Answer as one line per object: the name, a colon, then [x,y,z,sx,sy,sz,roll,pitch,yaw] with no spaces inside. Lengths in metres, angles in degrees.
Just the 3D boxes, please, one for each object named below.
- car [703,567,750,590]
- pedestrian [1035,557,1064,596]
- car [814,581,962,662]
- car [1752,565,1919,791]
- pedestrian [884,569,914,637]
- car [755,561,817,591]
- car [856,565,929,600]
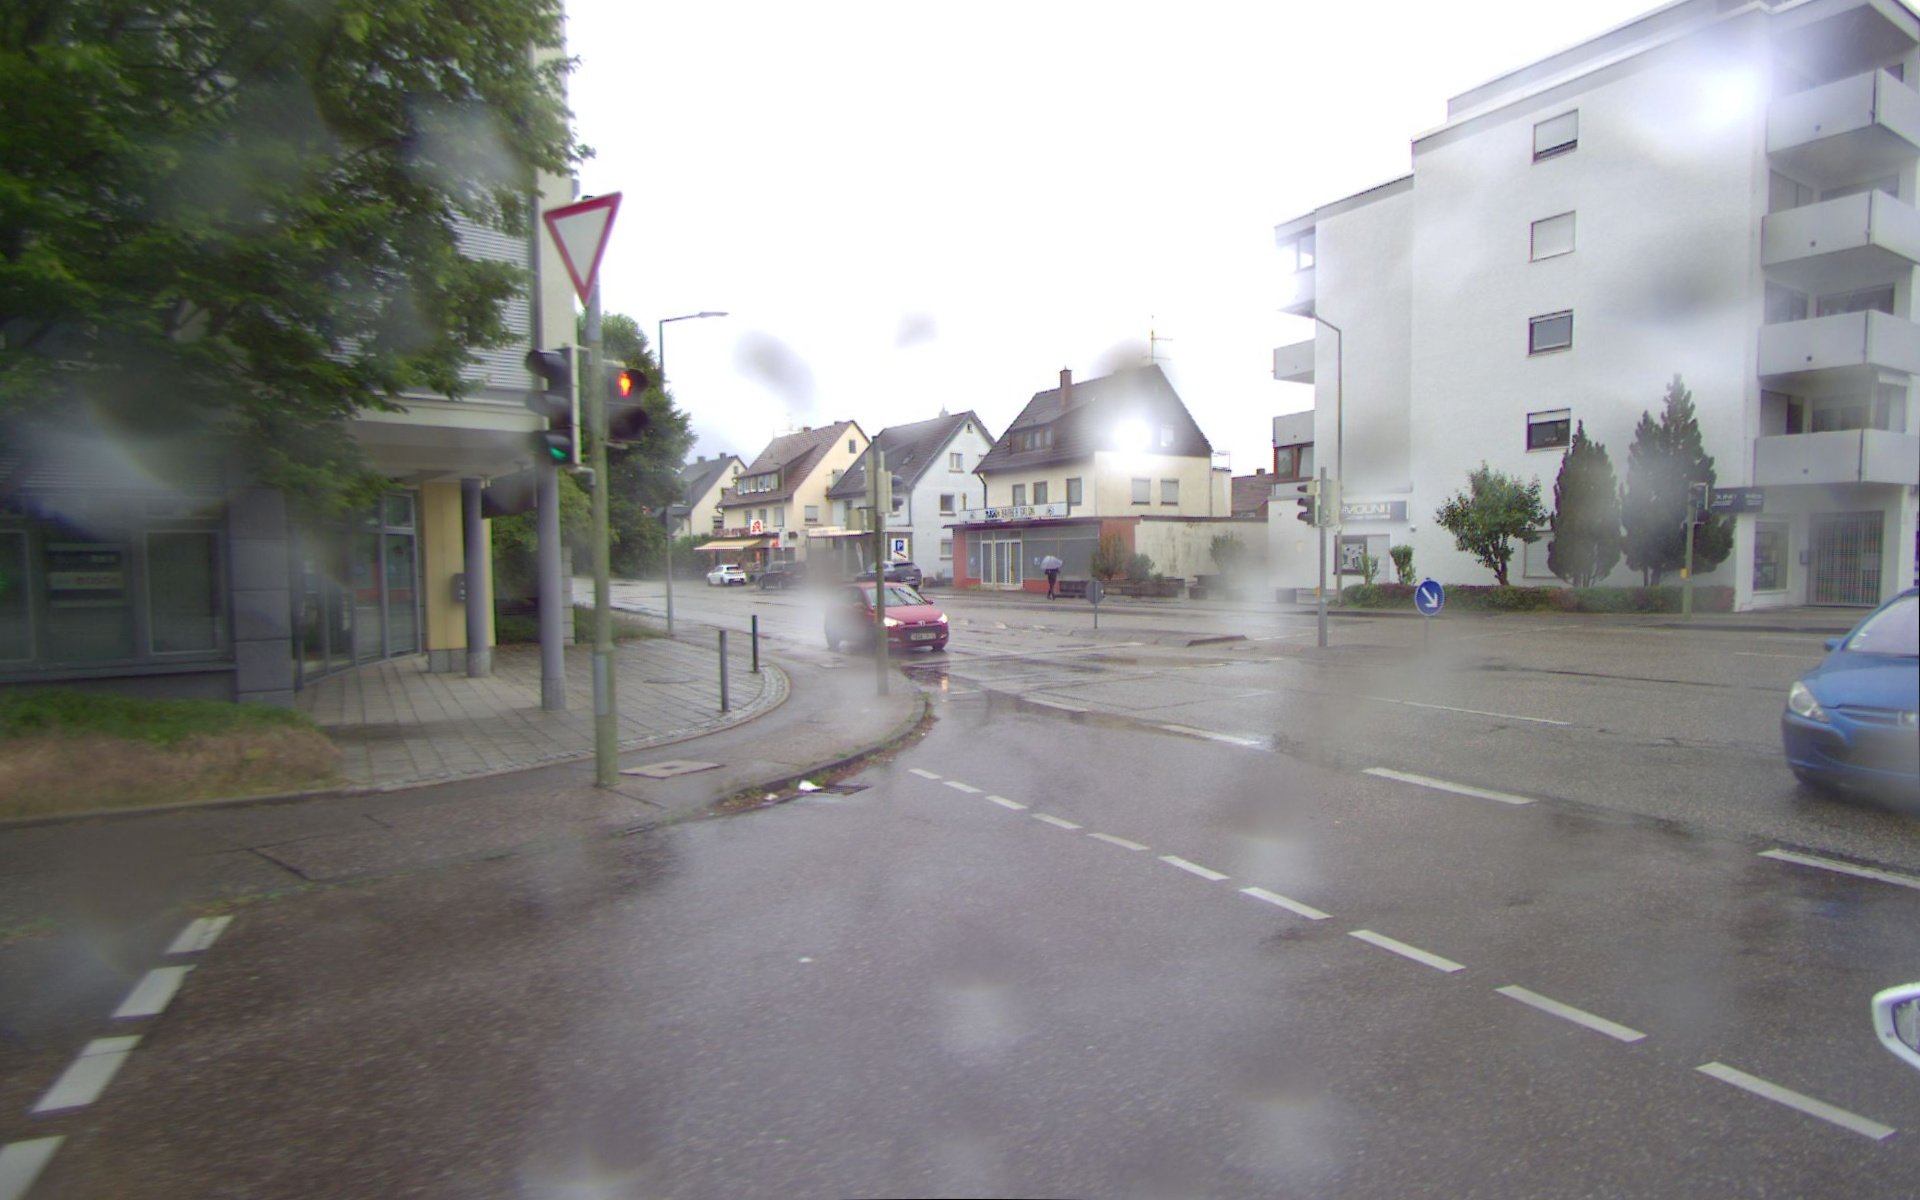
car: [-16.624,-1.566,71.377,1.802,1.468,4.162,-5,4,-34]
pedestrian: [3.650,-0.954,41.018,0.746,1.589,0.985,0,1,-30]
car: [-1.720,0.392,22.654,1.759,1.527,4.073,-5,4,-28]
car: [7.877,0.575,7.597,3.957,1.464,1.757,2,0,-33]
pedestrian: [-1.600,0.054,26.090,0.657,1.725,0.945,-1,2,-11]
car: [-10.993,-1.492,63.337,2.020,1.718,4.917,-5,4,-33]
car: [-3.608,-0.930,52.929,1.858,1.665,4.754,-5,4,-29]
